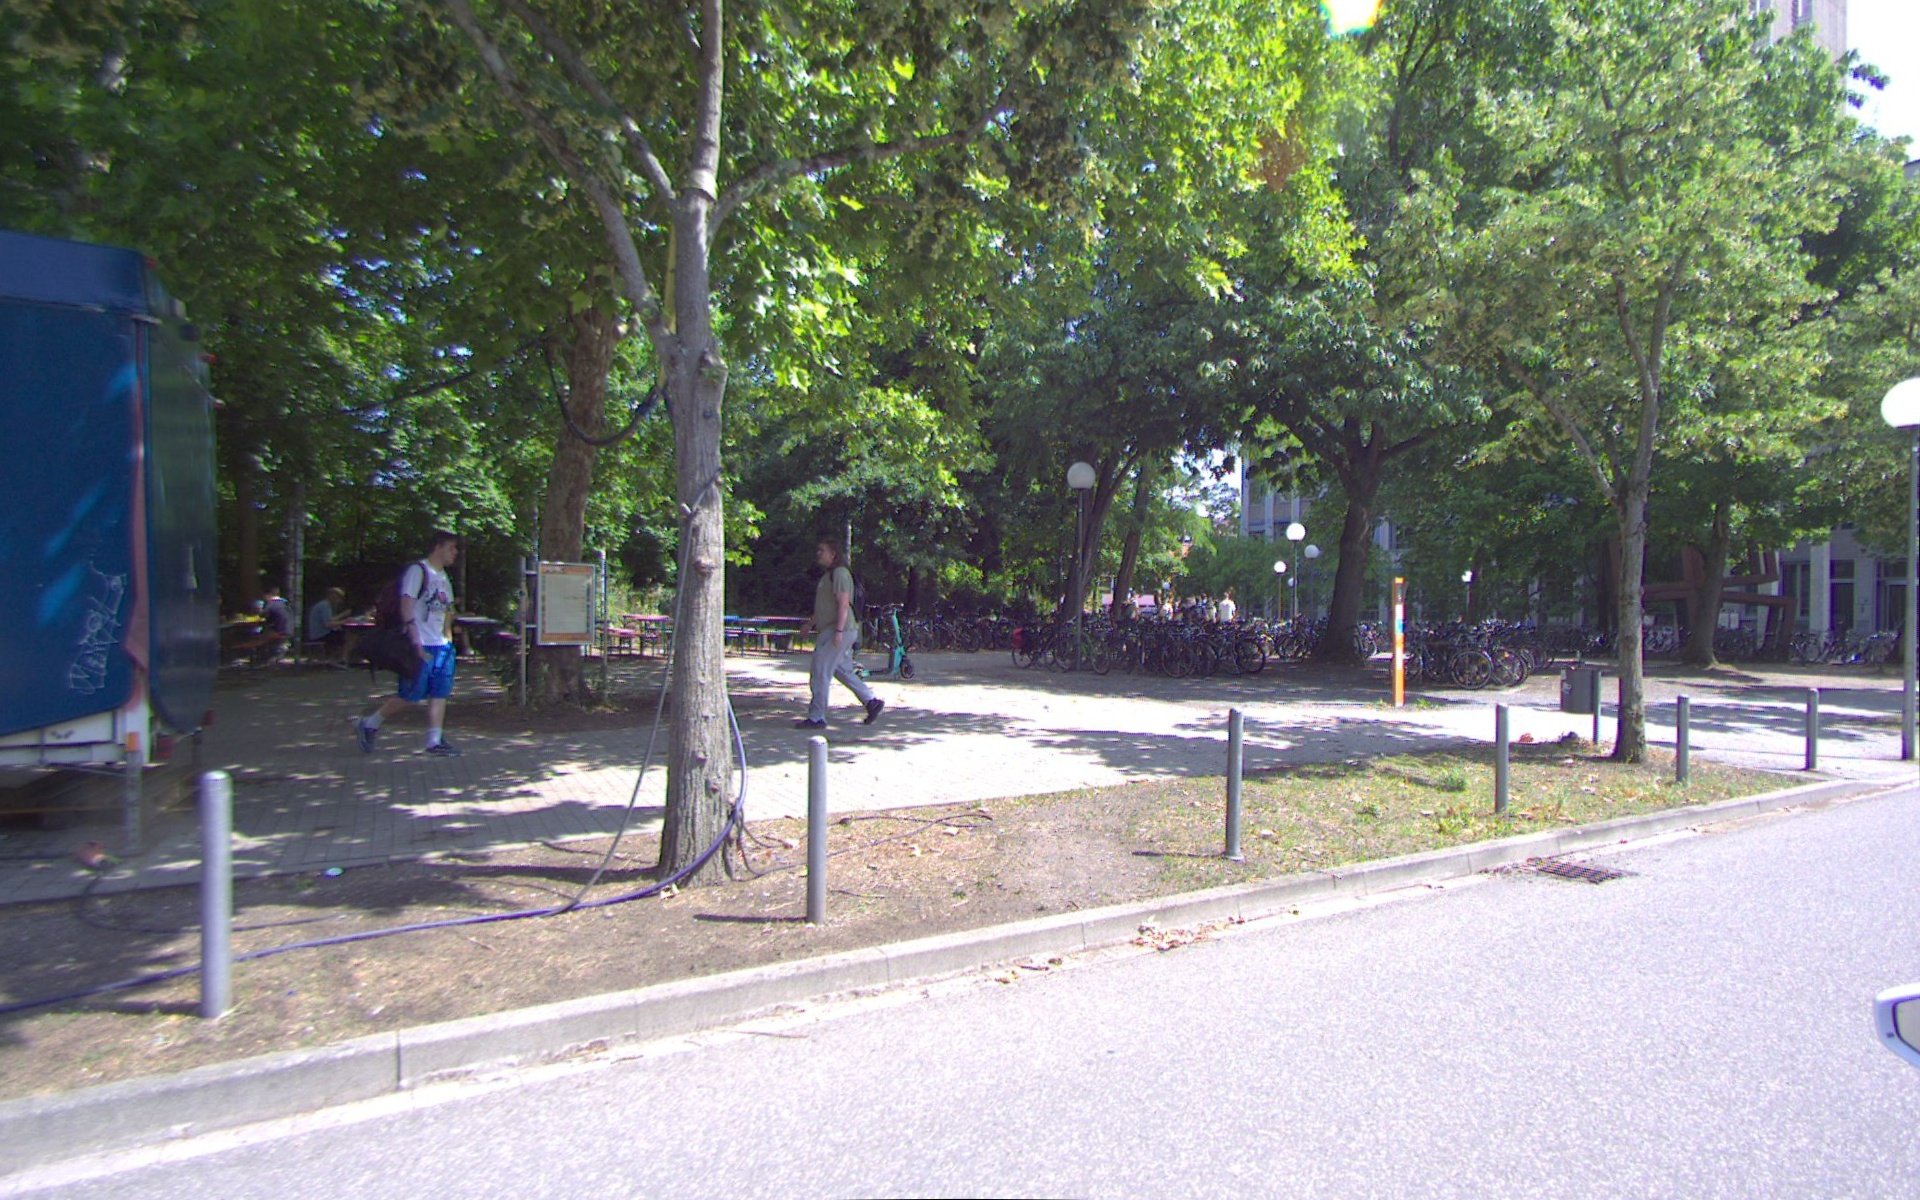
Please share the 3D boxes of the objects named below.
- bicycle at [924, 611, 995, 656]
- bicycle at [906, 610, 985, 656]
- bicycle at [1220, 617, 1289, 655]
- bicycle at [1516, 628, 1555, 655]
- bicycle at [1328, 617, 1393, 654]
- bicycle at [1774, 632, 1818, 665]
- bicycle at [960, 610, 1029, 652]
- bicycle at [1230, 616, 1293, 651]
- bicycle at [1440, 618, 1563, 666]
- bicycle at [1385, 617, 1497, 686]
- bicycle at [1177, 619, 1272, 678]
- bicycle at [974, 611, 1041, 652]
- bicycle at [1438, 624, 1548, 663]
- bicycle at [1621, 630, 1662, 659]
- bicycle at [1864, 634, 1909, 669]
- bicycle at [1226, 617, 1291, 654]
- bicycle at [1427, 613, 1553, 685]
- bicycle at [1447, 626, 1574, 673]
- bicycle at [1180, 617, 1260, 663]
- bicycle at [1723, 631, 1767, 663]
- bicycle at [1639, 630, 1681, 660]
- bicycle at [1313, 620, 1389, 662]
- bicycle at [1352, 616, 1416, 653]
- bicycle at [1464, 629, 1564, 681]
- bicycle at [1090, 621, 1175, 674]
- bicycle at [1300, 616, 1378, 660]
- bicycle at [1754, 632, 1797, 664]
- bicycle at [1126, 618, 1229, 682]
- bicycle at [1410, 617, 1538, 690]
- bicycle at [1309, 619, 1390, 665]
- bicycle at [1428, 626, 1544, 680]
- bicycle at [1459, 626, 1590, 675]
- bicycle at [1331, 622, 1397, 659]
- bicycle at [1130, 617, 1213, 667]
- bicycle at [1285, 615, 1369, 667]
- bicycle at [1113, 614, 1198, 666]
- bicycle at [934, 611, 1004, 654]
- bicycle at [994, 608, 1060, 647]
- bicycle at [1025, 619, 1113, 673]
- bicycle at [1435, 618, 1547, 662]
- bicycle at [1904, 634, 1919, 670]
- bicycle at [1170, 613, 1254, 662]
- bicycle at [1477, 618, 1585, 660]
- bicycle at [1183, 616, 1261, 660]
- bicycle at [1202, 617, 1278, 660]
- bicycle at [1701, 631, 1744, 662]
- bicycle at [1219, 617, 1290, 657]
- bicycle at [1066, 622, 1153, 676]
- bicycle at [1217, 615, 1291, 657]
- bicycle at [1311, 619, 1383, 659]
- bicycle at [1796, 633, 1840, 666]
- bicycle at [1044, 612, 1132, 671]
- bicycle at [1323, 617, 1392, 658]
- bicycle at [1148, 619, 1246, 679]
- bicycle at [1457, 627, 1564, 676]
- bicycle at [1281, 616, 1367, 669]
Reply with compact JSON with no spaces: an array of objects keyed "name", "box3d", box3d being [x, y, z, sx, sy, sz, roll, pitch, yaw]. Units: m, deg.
[{"name":"bicycle","box3d":[-0.023,0.879,26.900,1.927,1.106,0.595,2,-1,38]},{"name":"bicycle","box3d":[-0.375,0.854,26.007,1.920,1.106,0.597,2,-1,21]},{"name":"bicycle","box3d":[9.085,1.094,31.025,1.933,1.104,0.546,1,0,31]},{"name":"bicycle","box3d":[24.643,1.782,43.030,1.950,1.101,0.549,1,1,-31]},{"name":"bicycle","box3d":[13.895,1.207,34.858,2.021,1.147,0.639,3,2,25]},{"name":"bicycle","box3d":[29.377,1.702,35.283,1.950,1.101,0.549,1,1,-31]},{"name":"bicycle","box3d":[0.952,0.874,28.364,1.927,1.106,0.595,2,-1,38]},{"name":"bicycle","box3d":[10.546,1.156,35.127,2.021,1.147,0.639,1,1,25]},{"name":"bicycle","box3d":[14.984,1.146,27.880,2.850,1.237,0.883,1,0,17]},{"name":"bicycle","box3d":[8.644,0.895,18.101,1.753,1.147,0.456,1,0,43]},{"name":"bicycle","box3d":[5.455,0.981,20.808,1.832,1.104,0.545,1,0,39]},{"name":"bicycle","box3d":[1.386,0.899,29.297,1.927,1.106,0.595,2,-1,38]},{"name":"bicycle","box3d":[15.360,1.238,29.036,2.679,1.016,0.883,1,0,17]},{"name":"bicycle","box3d":[26.973,1.762,39.769,1.950,1.101,0.549,1,1,-31]},{"name":"bicycle","box3d":[30.892,1.700,33.499,1.950,1.101,0.549,1,1,-31]},{"name":"bicycle","box3d":[9.560,1.121,32.203,1.933,1.104,0.546,1,0,31]},{"name":"bicycle","box3d":[10.473,0.935,19.880,2.031,1.251,0.804,3,1,42]},{"name":"bicycle","box3d":[13.345,1.195,24.442,2.598,1.022,0.678,1,0,17]},{"name":"bicycle","box3d":[6.650,1.006,25.733,1.940,1.104,0.544,1,0,43]},{"name":"bicycle","box3d":[28.554,1.712,36.526,1.950,1.101,0.549,1,1,-31]},{"name":"bicycle","box3d":[27.175,1.743,38.979,1.950,1.101,0.549,1,1,-31]},{"name":"bicycle","box3d":[11.577,1.201,29.751,2.021,1.147,0.639,1,1,25]},{"name":"bicycle","box3d":[15.033,1.208,35.658,2.021,1.147,0.639,4,1,25]},{"name":"bicycle","box3d":[11.988,1.170,21.760,1.858,1.022,0.676,1,0,30]},{"name":"bicycle","box3d":[3.779,1.025,22.183,0.533,1.041,1.944,1,0,-40]},{"name":"bicycle","box3d":[10.808,1.070,28.654,2.021,1.173,0.639,1,1,25]},{"name":"bicycle","box3d":[29.160,1.715,35.912,1.950,1.101,0.549,1,1,-31]},{"name":"bicycle","box3d":[4.091,0.925,18.946,1.832,1.104,0.545,1,0,39]},{"name":"bicycle","box3d":[9.791,0.990,19.177,2.031,1.251,0.804,2,0,42]},{"name":"bicycle","box3d":[10.582,1.123,27.302,2.021,1.147,0.639,1,1,25]},{"name":"bicycle","box3d":[11.000,1.085,21.036,2.115,1.022,0.676,1,0,30]},{"name":"bicycle","box3d":[14.048,1.252,25.097,2.696,1.101,0.883,1,0,17]},{"name":"bicycle","box3d":[13.563,1.343,33.717,2.021,1.147,0.639,1,1,25]},{"name":"bicycle","box3d":[5.062,0.991,24.144,1.940,1.104,0.544,1,0,43]},{"name":"bicycle","box3d":[9.671,1.069,26.486,2.021,1.251,0.639,2,1,25]},{"name":"bicycle","box3d":[4.528,0.908,23.403,1.939,1.104,0.534,1,0,43]},{"name":"bicycle","box3d":[0.239,0.890,27.789,1.927,1.106,0.595,2,-1,38]},{"name":"bicycle","box3d":[2.005,0.811,30.163,1.927,1.106,0.595,2,-1,38]},{"name":"bicycle","box3d":[2.203,0.917,20.555,0.533,1.016,1.944,1,0,-40]},{"name":"bicycle","box3d":[15.860,1.179,30.111,2.826,1.193,0.883,1,0,17]},{"name":"bicycle","box3d":[31.192,1.673,32.385,1.950,1.101,0.549,1,1,-31]},{"name":"bicycle","box3d":[6.144,0.905,24.559,1.940,1.104,0.544,1,0,43]},{"name":"bicycle","box3d":[19.317,1.293,34.051,3.021,1.314,0.883,1,0,17]},{"name":"bicycle","box3d":[7.032,0.995,26.973,1.933,1.104,0.546,1,0,31]},{"name":"bicycle","box3d":[7.682,1.044,27.590,1.933,1.104,0.546,1,0,31]},{"name":"bicycle","box3d":[28.197,1.719,37.126,1.950,1.101,0.549,1,1,-31]},{"name":"bicycle","box3d":[8.774,1.096,29.944,1.933,1.104,0.546,1,0,31]},{"name":"bicycle","box3d":[3.160,1.013,21.401,0.533,1.041,1.944,1,0,-40]},{"name":"bicycle","box3d":[8.355,1.015,28.579,1.933,1.104,0.546,1,0,31]},{"name":"bicycle","box3d":[11.868,1.195,30.847,2.021,1.147,0.639,1,1,25]},{"name":"bicycle","box3d":[29.701,1.697,34.772,1.950,1.101,0.549,1,1,-31]},{"name":"bicycle","box3d":[2.640,0.841,20.931,0.533,1.141,1.944,1,0,-40]},{"name":"bicycle","box3d":[13.024,1.217,32.896,2.021,1.147,0.639,4,2,25]},{"name":"bicycle","box3d":[4.698,0.950,19.967,1.832,1.104,0.545,1,0,39]},{"name":"bicycle","box3d":[12.636,1.172,23.121,2.115,1.022,0.677,1,0,29]},{"name":"bicycle","box3d":[9.371,1.073,25.882,2.021,1.251,0.639,1,1,25]}]
